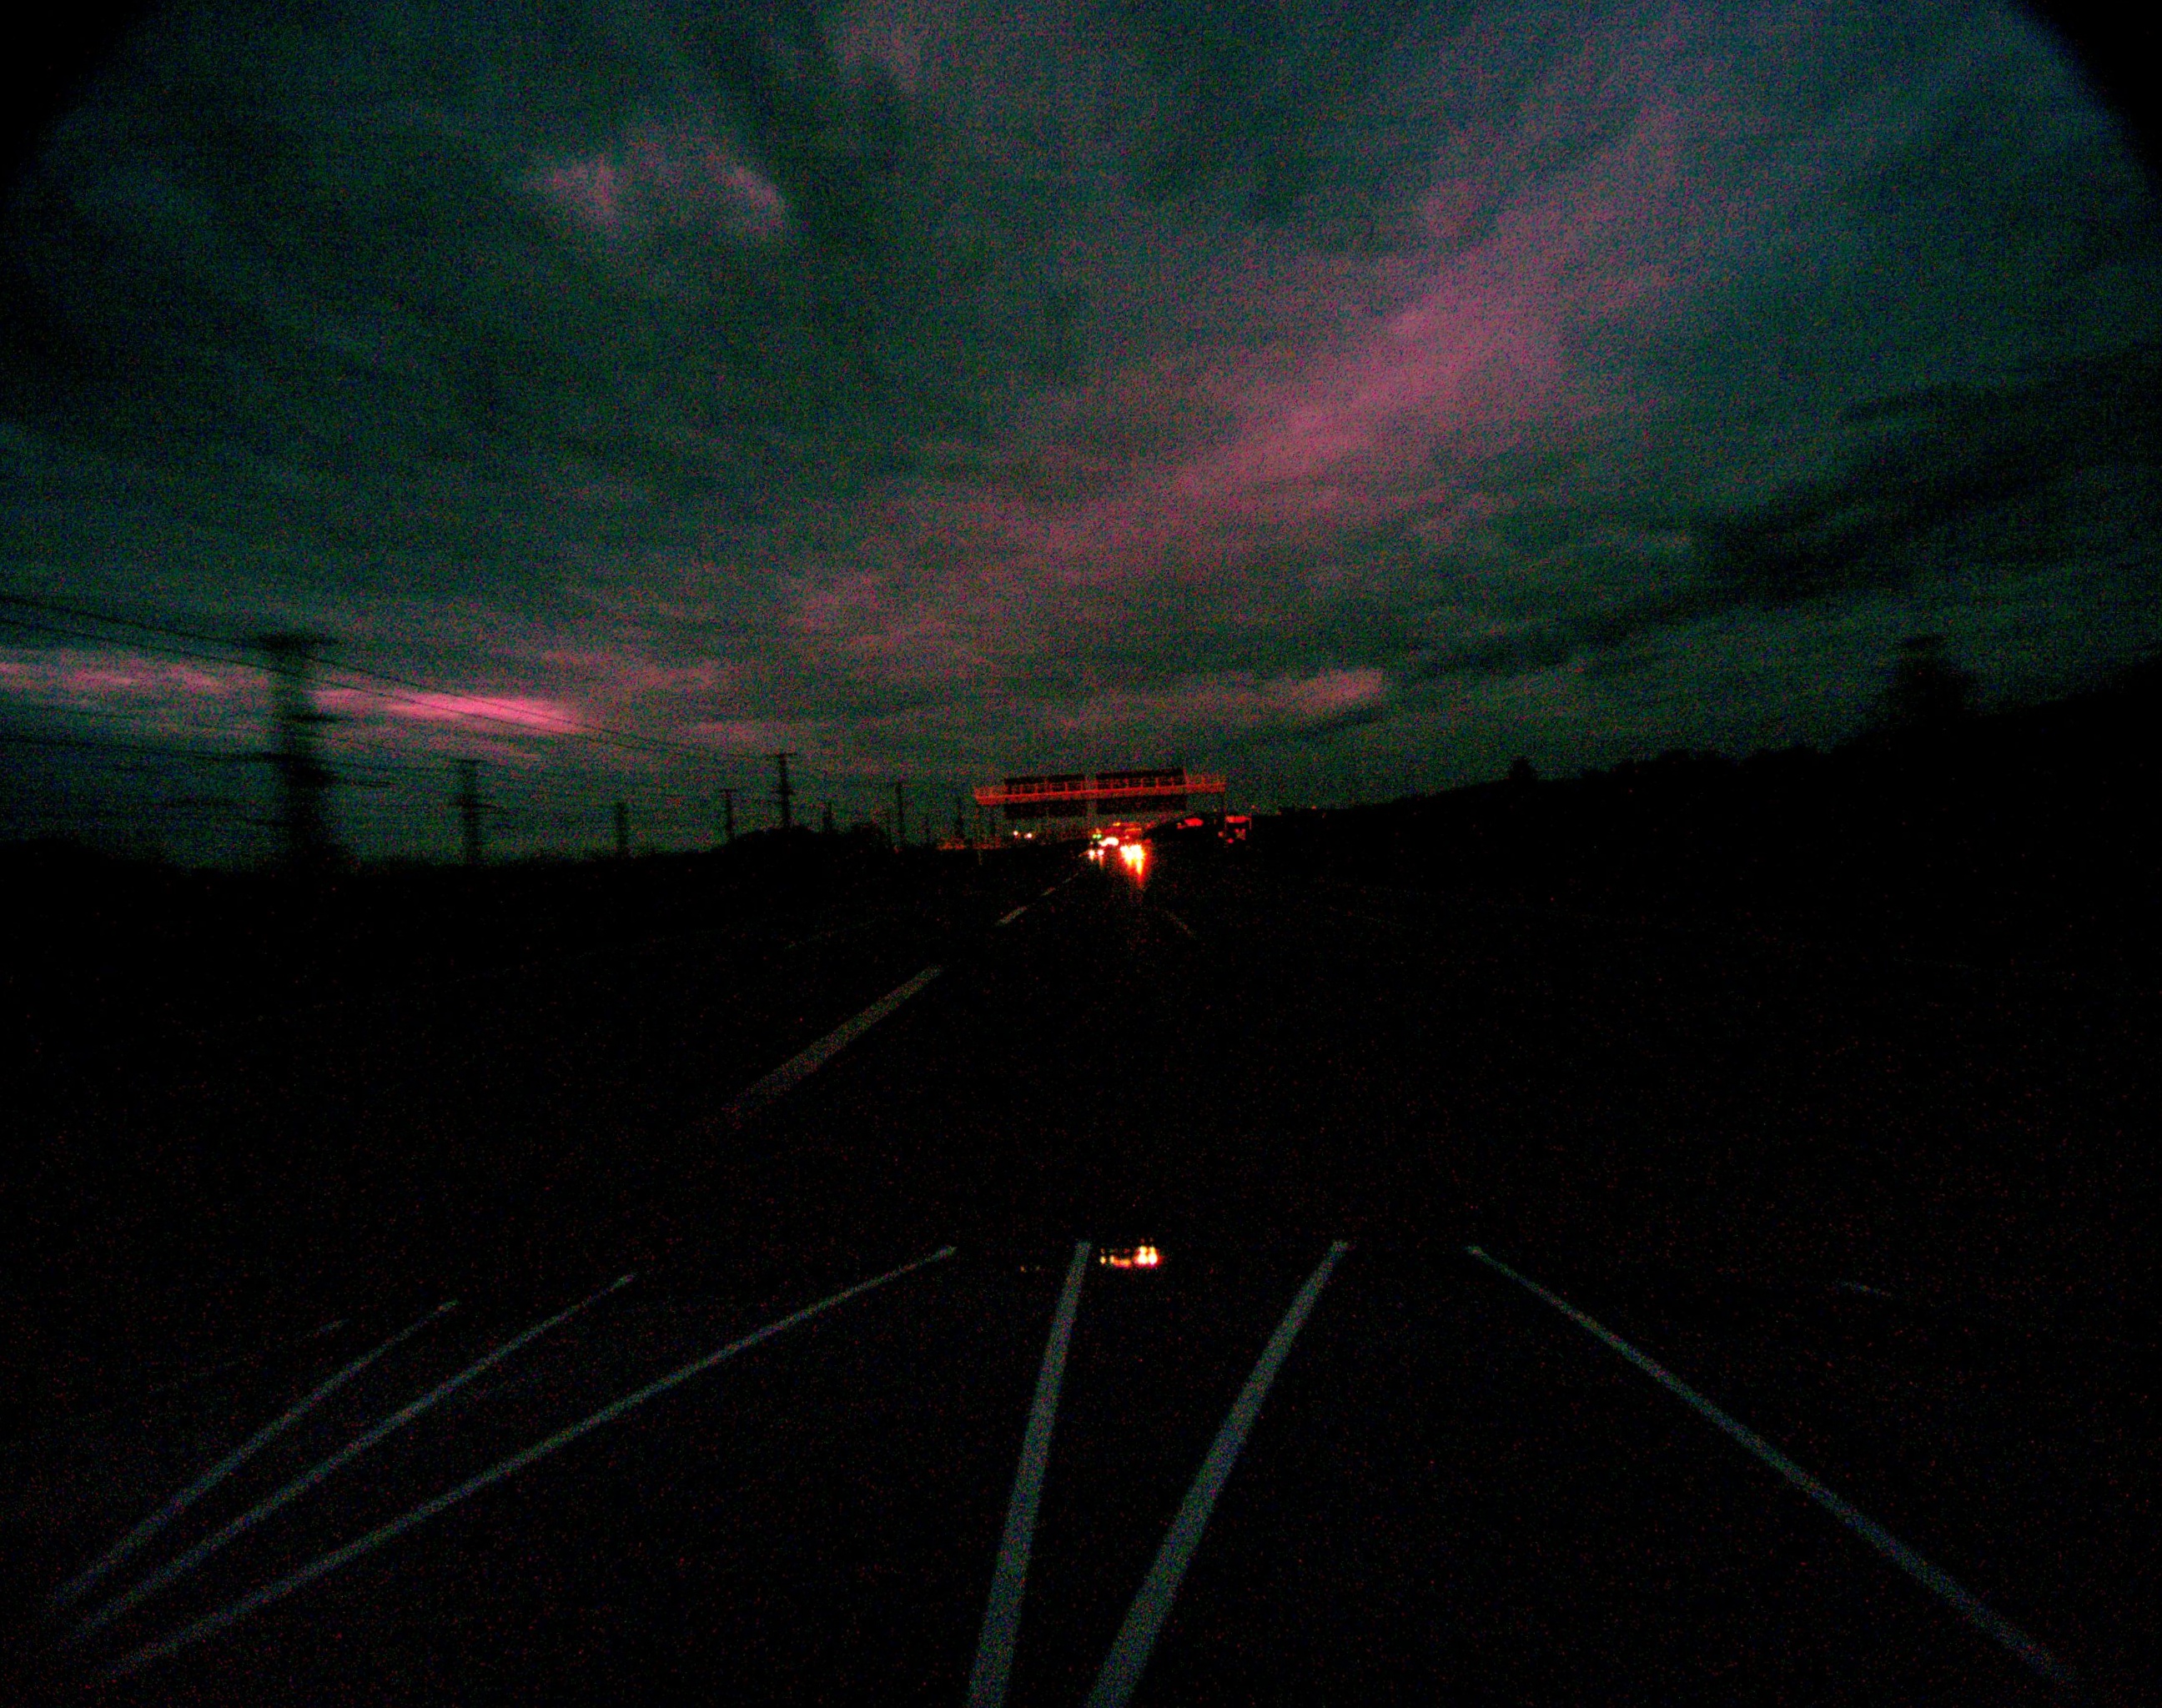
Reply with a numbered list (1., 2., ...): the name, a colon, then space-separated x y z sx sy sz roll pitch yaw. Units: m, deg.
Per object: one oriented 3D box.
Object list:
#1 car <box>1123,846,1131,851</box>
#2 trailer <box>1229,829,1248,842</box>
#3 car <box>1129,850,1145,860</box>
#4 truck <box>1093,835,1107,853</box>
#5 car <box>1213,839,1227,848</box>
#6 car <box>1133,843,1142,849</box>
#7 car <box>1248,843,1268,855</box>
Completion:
1. car: 13.371 -1.671 220.498 1.998 1.342 4.175 -4 1 3
2. trailer: 52.587 -6.051 253.986 2.698 4.048 12.487 -4 1 -3
3. car: 7.859 0.125 107.007 1.998 1.342 4.175 1 1 1
4. truck: 4.525 -2.253 180.028 3.059 4.047 10.522 -1 -1 2
5. car: 24.905 -1.912 136.083 1.693 1.393 4.428 -5 2 3
6. car: 15.391 -2.227 206.220 1.998 1.342 4.175 -4 1 1
7. car: 23.945 -0.734 102.965 1.693 1.393 4.428 -5 2 3
